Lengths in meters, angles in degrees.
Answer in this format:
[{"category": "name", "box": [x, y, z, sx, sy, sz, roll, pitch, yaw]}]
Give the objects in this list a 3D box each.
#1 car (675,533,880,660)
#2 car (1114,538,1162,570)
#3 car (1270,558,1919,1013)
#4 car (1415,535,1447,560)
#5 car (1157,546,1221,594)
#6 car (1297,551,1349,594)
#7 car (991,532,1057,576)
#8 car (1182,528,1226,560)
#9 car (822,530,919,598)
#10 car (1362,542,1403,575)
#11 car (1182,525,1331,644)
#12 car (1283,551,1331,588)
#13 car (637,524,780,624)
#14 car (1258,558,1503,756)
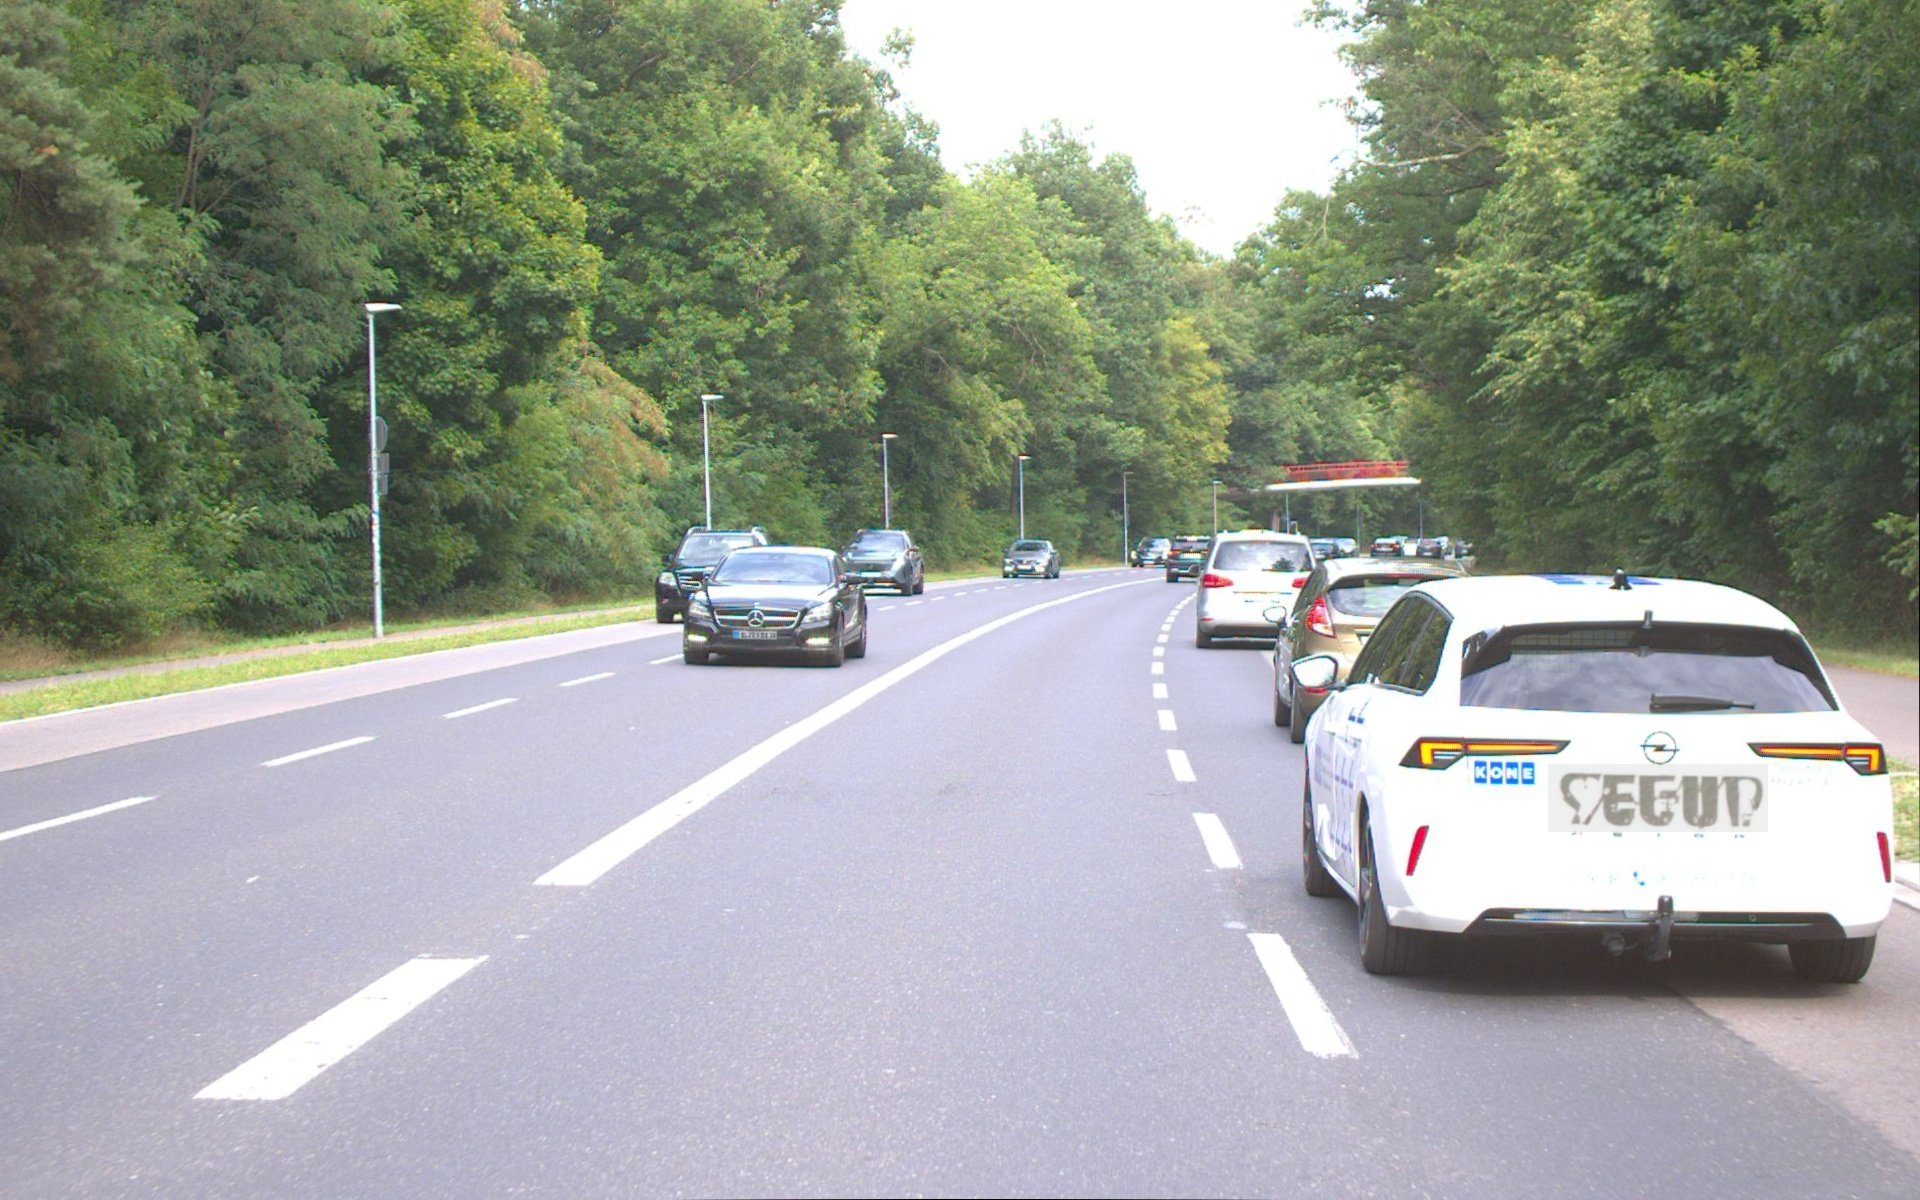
[{"category": "car", "box": [-2.160, -0.036, 42.046, 1.994, 1.430, 4.720, 1, 0, 3]}, {"category": "car", "box": [8.751, -2.270, 168.920, 1.882, 1.438, 4.402, 2, 0, 8]}, {"category": "car", "box": [2.301, 0.572, 13.346, 1.836, 1.405, 4.491, 1, 1, 1]}, {"category": "car", "box": [31.835, -3.560, 232.259, 1.994, 1.700, 3.998, 0, 1, 11]}, {"category": "car", "box": [7.996, -1.033, 119.926, 1.730, 1.582, 3.998, 2, 0, 10]}, {"category": "car", "box": [16.059, -1.221, 152.118, 1.994, 1.777, 3.998, 2, 0, 9]}, {"category": "car", "box": [2.382, -1.678, 126.783, 1.897, 1.478, 4.537, 2, 0, 7]}, {"category": "car", "box": [13.455, -3.073, 189.409, 1.994, 1.557, 4.602, 2, 0, 8]}, {"category": "car", "box": [-2.260, -0.892, 88.025, 1.994, 1.611, 4.663, 2, 0, 4]}, {"category": "car", "box": [24.806, -2.417, 201.764, 1.994, 1.777, 3.998, 2, 0, 11]}, {"category": "car", "box": [4.318, -0.221, 50.515, 1.994, 1.601, 3.999, 2, 0, 3]}, {"category": "car", "box": [17.976, -1.563, 177.956, 1.995, 1.777, 3.998, 2, 0, 13]}, {"category": "car", "box": [-4.335, -0.432, 59.863, 1.923, 1.649, 4.469, 1, 0, 3]}, {"category": "car", "box": [3.321, 0.427, 27.748, 1.635, 1.415, 4.000, 2, 0, 3]}]
